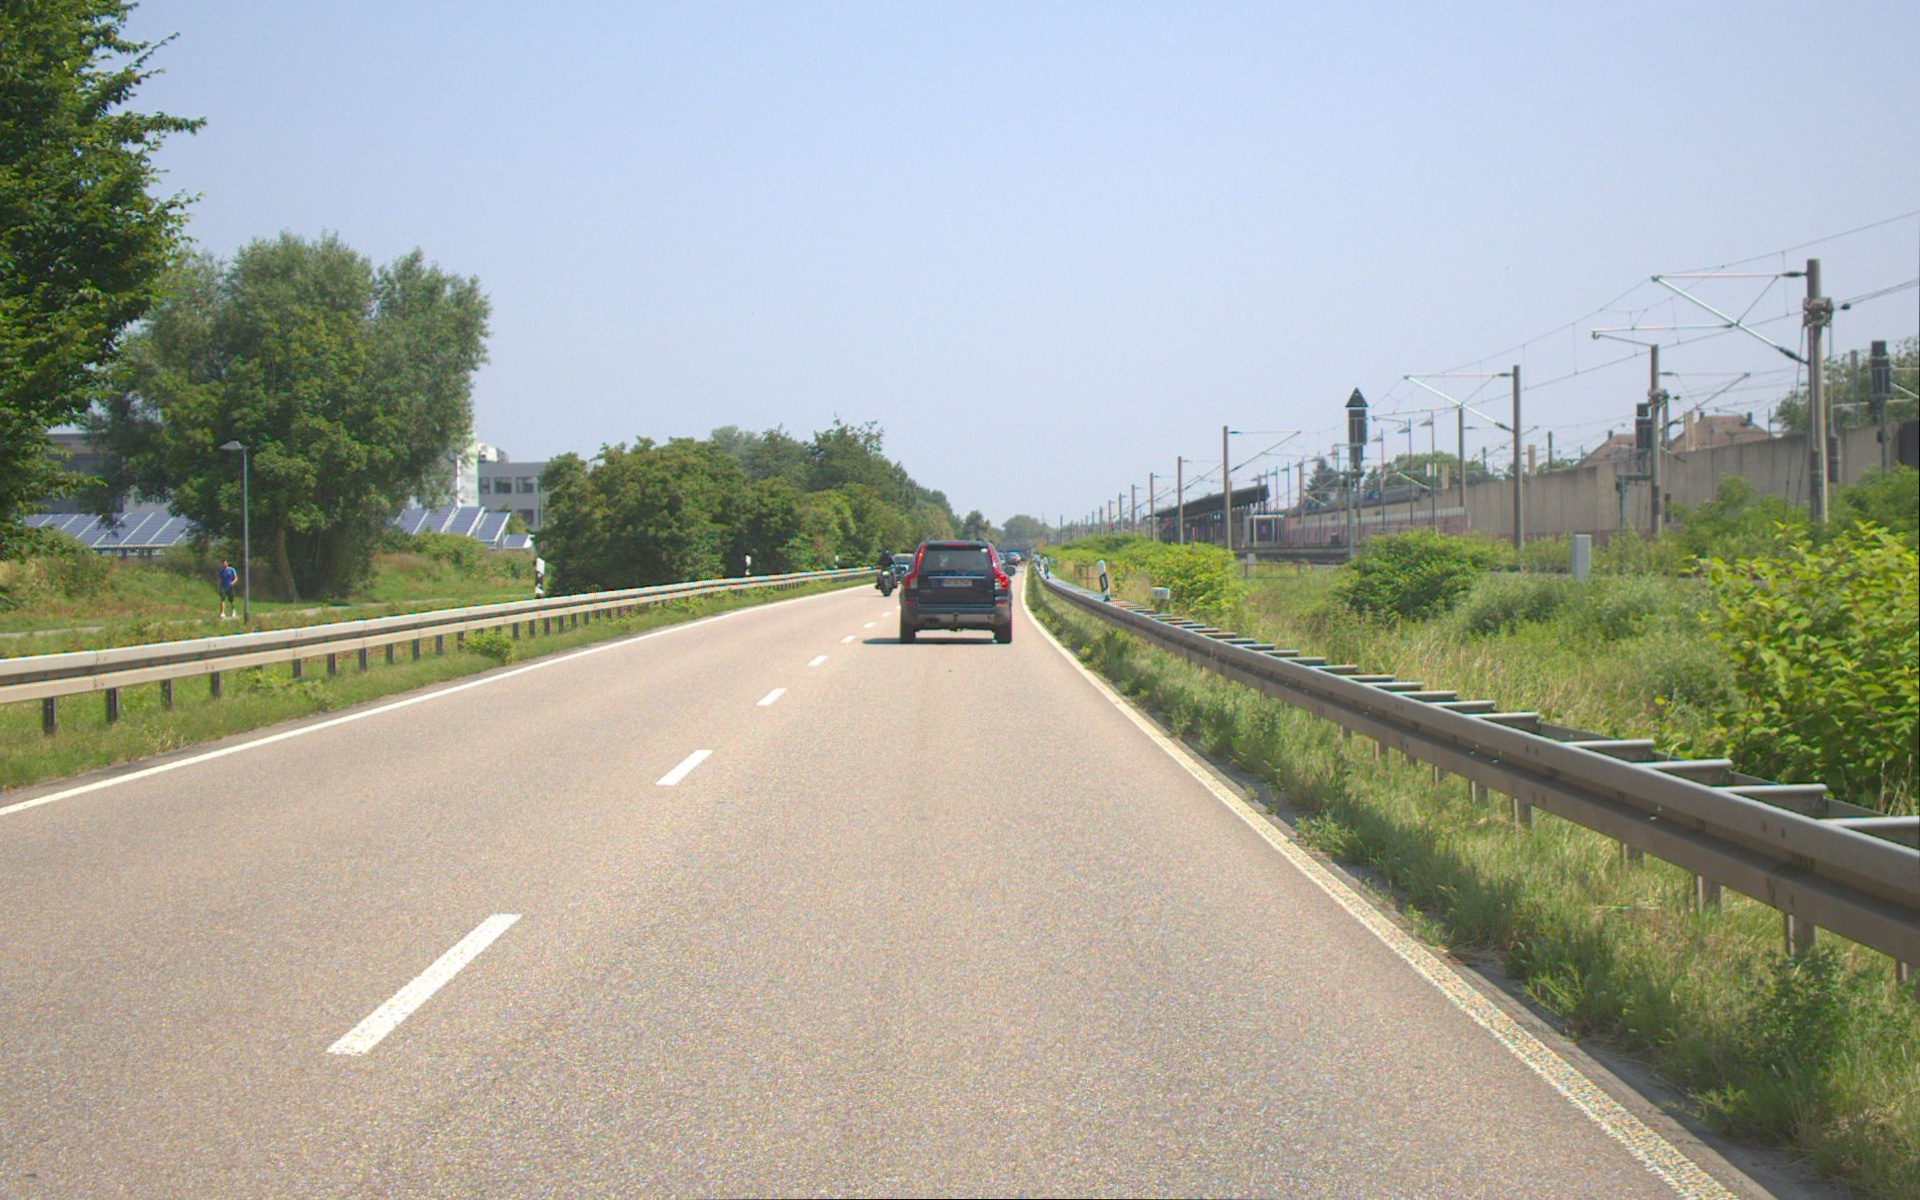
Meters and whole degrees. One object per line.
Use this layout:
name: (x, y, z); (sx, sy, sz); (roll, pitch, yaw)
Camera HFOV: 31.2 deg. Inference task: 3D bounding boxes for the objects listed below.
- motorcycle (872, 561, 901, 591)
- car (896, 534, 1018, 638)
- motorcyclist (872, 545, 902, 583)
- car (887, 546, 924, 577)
motorcycle: (-2.554, -0.840, 120.066); (0.928, 1.024, 2.268); (1, 1, 0)
car: (-0.094, -0.255, 58.414); (1.993, 1.694, 4.000); (0, 1, -1)
motorcyclist: (-2.552, -1.245, 120.036); (0.993, 1.305, 0.935); (1, 1, 1)
car: (-2.679, -1.901, 170.544); (1.698, 1.469, 4.686); (1, 1, 1)
